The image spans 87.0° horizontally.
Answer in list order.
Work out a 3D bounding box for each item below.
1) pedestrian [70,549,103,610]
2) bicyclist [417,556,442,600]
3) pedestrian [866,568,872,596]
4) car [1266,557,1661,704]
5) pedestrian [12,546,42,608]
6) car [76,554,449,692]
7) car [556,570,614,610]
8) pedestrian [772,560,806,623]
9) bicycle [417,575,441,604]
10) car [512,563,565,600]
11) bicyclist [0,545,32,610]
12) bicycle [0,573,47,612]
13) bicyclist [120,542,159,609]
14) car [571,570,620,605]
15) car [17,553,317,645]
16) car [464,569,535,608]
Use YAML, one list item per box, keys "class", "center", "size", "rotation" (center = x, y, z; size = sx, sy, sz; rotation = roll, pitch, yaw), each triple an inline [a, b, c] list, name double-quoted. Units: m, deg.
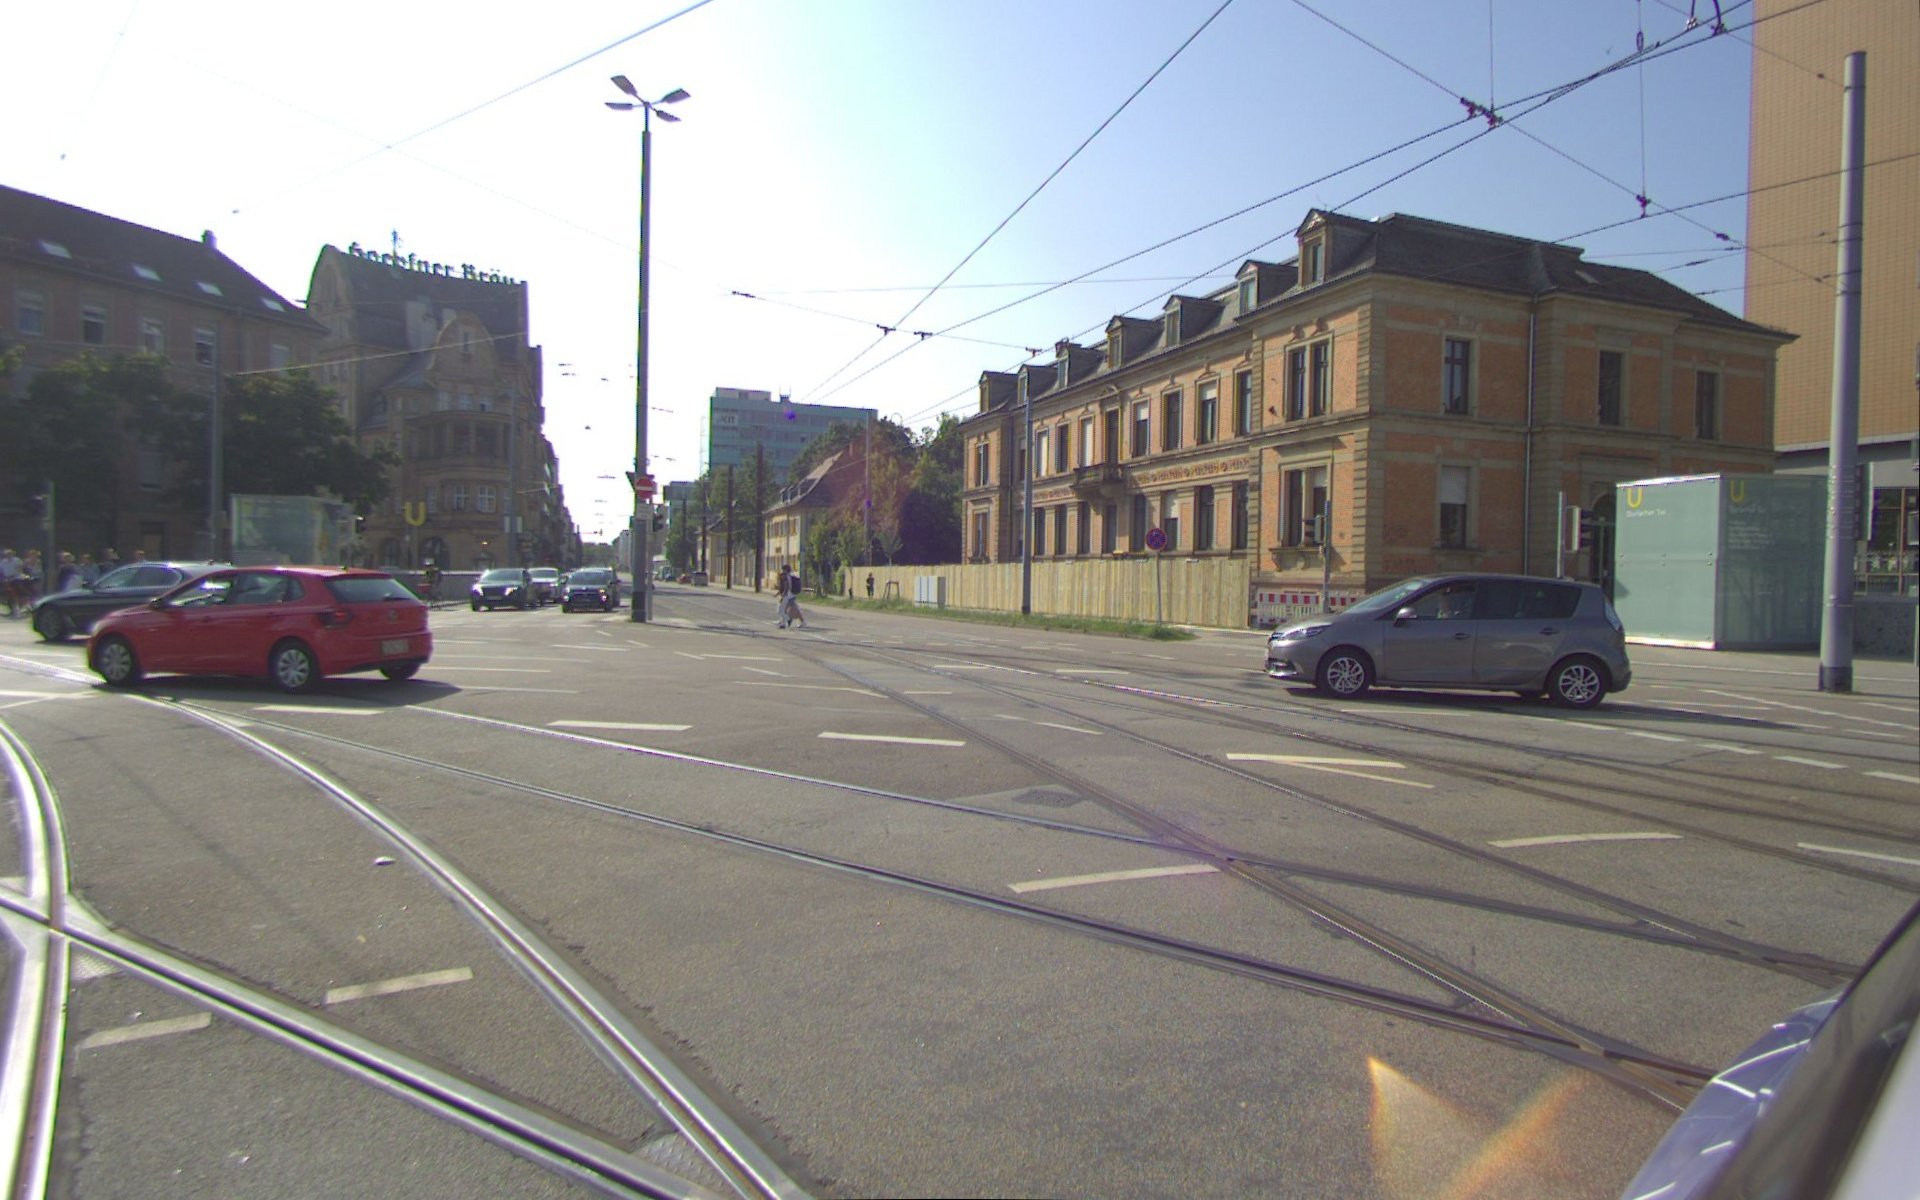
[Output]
- class: "pedestrian"
  center: [-24.206, -0.576, 28.031]
  size: [0.517, 1.661, 0.502]
  rotation: [1, 0, 20]
- class: "bicyclist"
  center: [-20.667, -0.855, 39.440]
  size: [0.649, 1.657, 0.920]
  rotation: [1, 1, -14]
- class: "pedestrian"
  center: [-4.942, -0.990, 55.100]
  size: [0.232, 1.549, 0.327]
  rotation: [1, 1, -21]
- class: "car"
  center: [6.262, 0.336, 13.119]
  size: [4.224, 1.645, 1.808]
  rotation: [1, 0, 13]
- class: "pedestrian"
  center: [-26.638, -0.652, 28.888]
  size: [0.620, 1.748, 0.499]
  rotation: [1, 0, 35]
- class: "car"
  center: [-8.430, 0.228, 12.337]
  size: [3.723, 1.466, 1.670]
  rotation: [1, 1, 13]
- class: "car"
  center: [-13.463, -0.377, 36.527]
  size: [1.658, 1.343, 4.009]
  rotation: [1, 1, -16]
- class: "pedestrian"
  center: [-4.733, -0.228, 28.012]
  size: [0.779, 1.708, 0.661]
  rotation: [1, 1, 1]
- class: "bicycle"
  center: [-20.676, -0.417, 39.419]
  size: [0.392, 1.104, 1.933]
  rotation: [1, 1, -14]
- class: "car"
  center: [-20.197, -0.913, 48.664]
  size: [1.887, 1.656, 4.009]
  rotation: [1, 1, -16]
- class: "bicyclist"
  center: [-25.547, -0.605, 27.252]
  size: [0.639, 1.738, 0.583]
  rotation: [1, 0, 19]
- class: "bicycle"
  center: [-25.547, -0.211, 27.195]
  size: [0.428, 1.037, 1.519]
  rotation: [1, 1, 16]
- class: "bicyclist"
  center: [-21.791, -0.649, 26.872]
  size: [0.588, 1.752, 0.584]
  rotation: [1, 0, 19]
- class: "car"
  center: [-15.191, -0.550, 42.286]
  size: [1.658, 1.343, 4.009]
  rotation: [1, 1, -16]
- class: "car"
  center: [-14.490, -0.054, 18.554]
  size: [4.672, 1.493, 1.907]
  rotation: [1, 1, 14]
- class: "car"
  center: [-17.537, -0.477, 38.708]
  size: [1.887, 1.393, 4.009]
  rotation: [1, 1, -16]
